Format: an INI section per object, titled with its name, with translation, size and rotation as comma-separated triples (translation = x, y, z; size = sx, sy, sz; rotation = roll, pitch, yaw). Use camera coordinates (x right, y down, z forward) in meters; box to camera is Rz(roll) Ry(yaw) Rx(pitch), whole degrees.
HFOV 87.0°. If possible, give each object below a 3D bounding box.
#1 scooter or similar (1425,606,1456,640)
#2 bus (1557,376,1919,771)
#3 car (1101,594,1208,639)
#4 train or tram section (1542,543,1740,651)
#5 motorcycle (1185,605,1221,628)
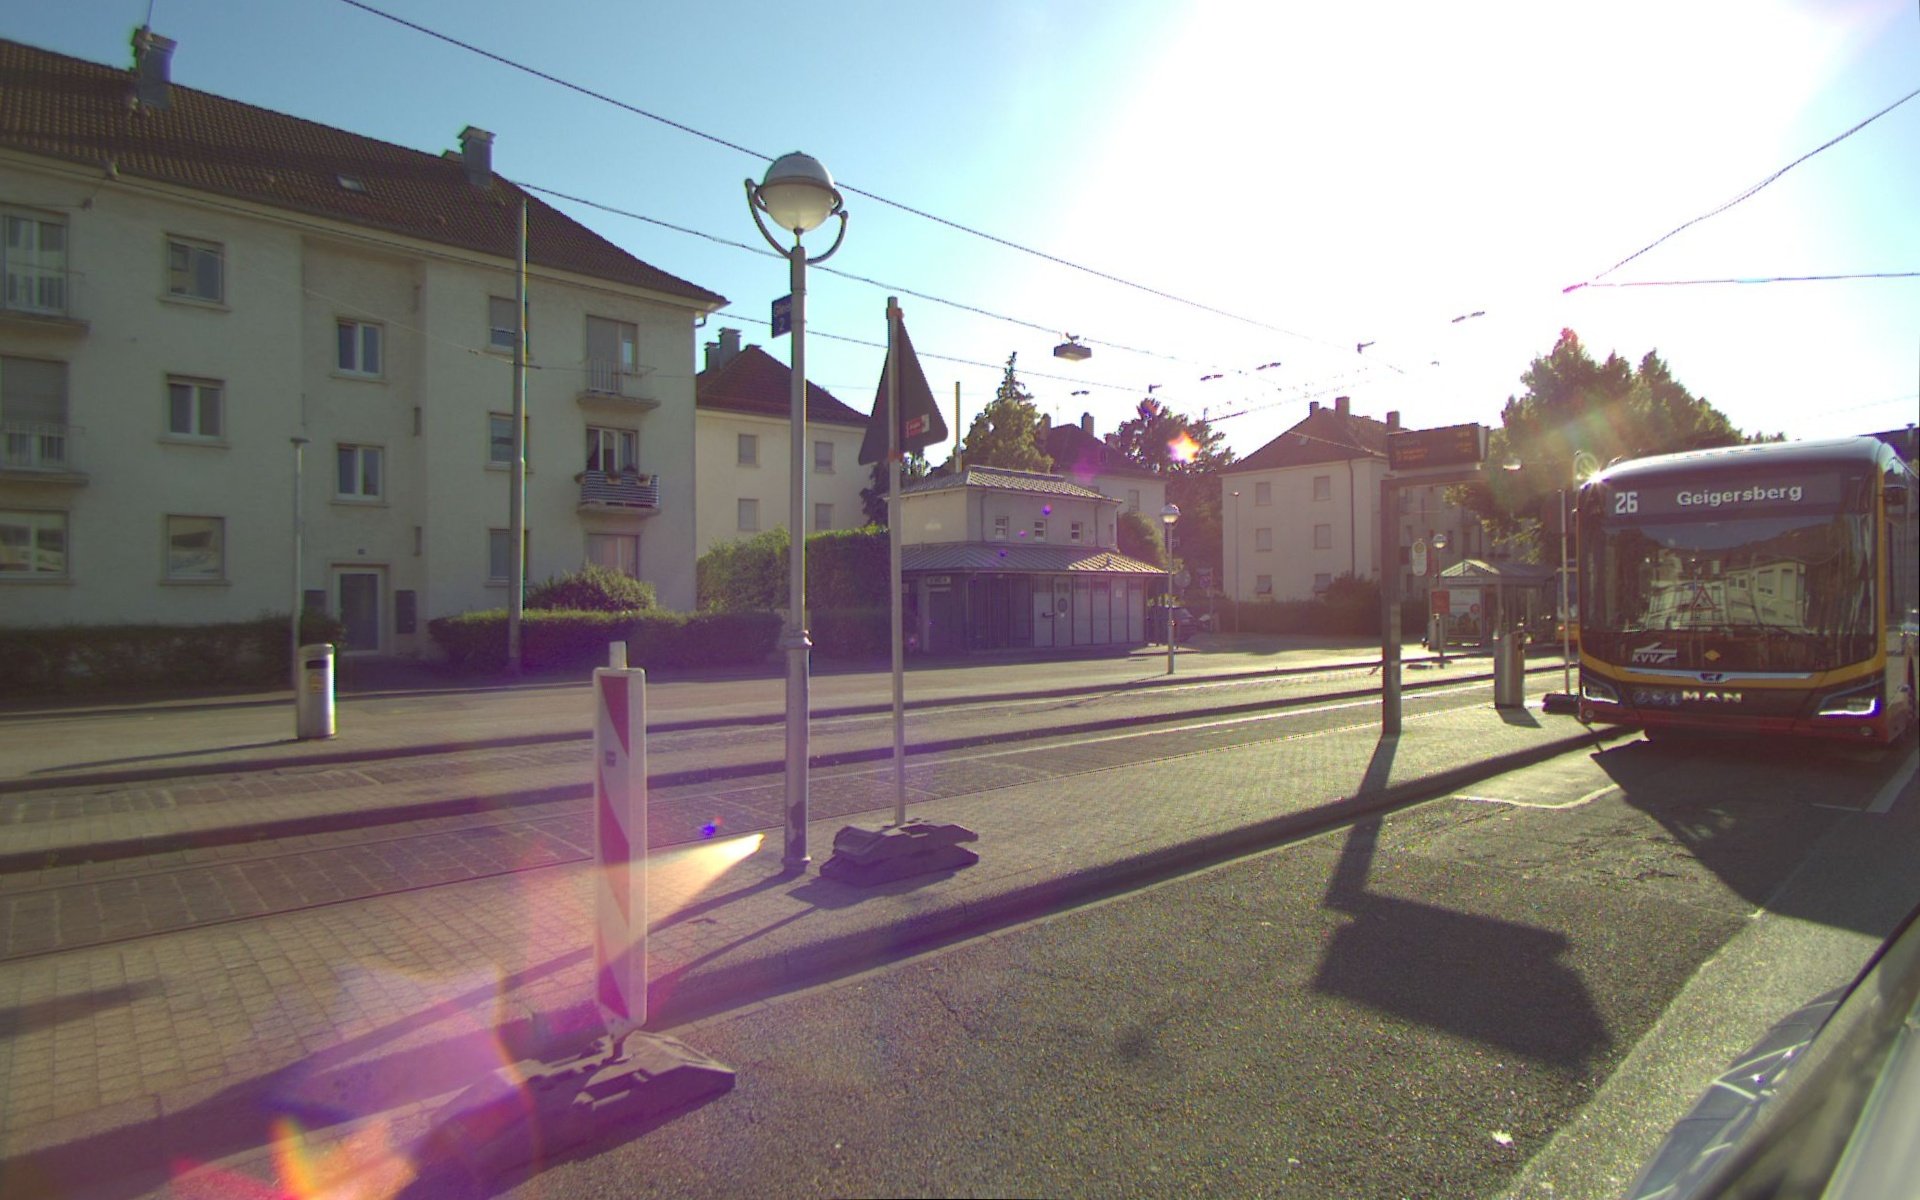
[scooter or similar]
translation = 17.811, 0.844, 37.509
size = 1.185, 1.223, 0.468
rotation = 0, 0, -31
[bus]
translation = 11.683, -0.230, 13.848
size = 11.812, 3.460, 2.691
rotation = 0, -1, -42
[car]
translation = 8.531, 0.674, 44.697
size = 1.963, 1.791, 4.450
rotation = 0, 1, -38
[train or tram section]
translation = 27.316, -0.279, 39.977
size = 15.701, 3.578, 2.961
rotation = -2, 1, -43
[motorcycle]
translation = 12.740, 0.854, 53.021
size = 0.549, 1.177, 1.823
rotation = 0, 0, -44
